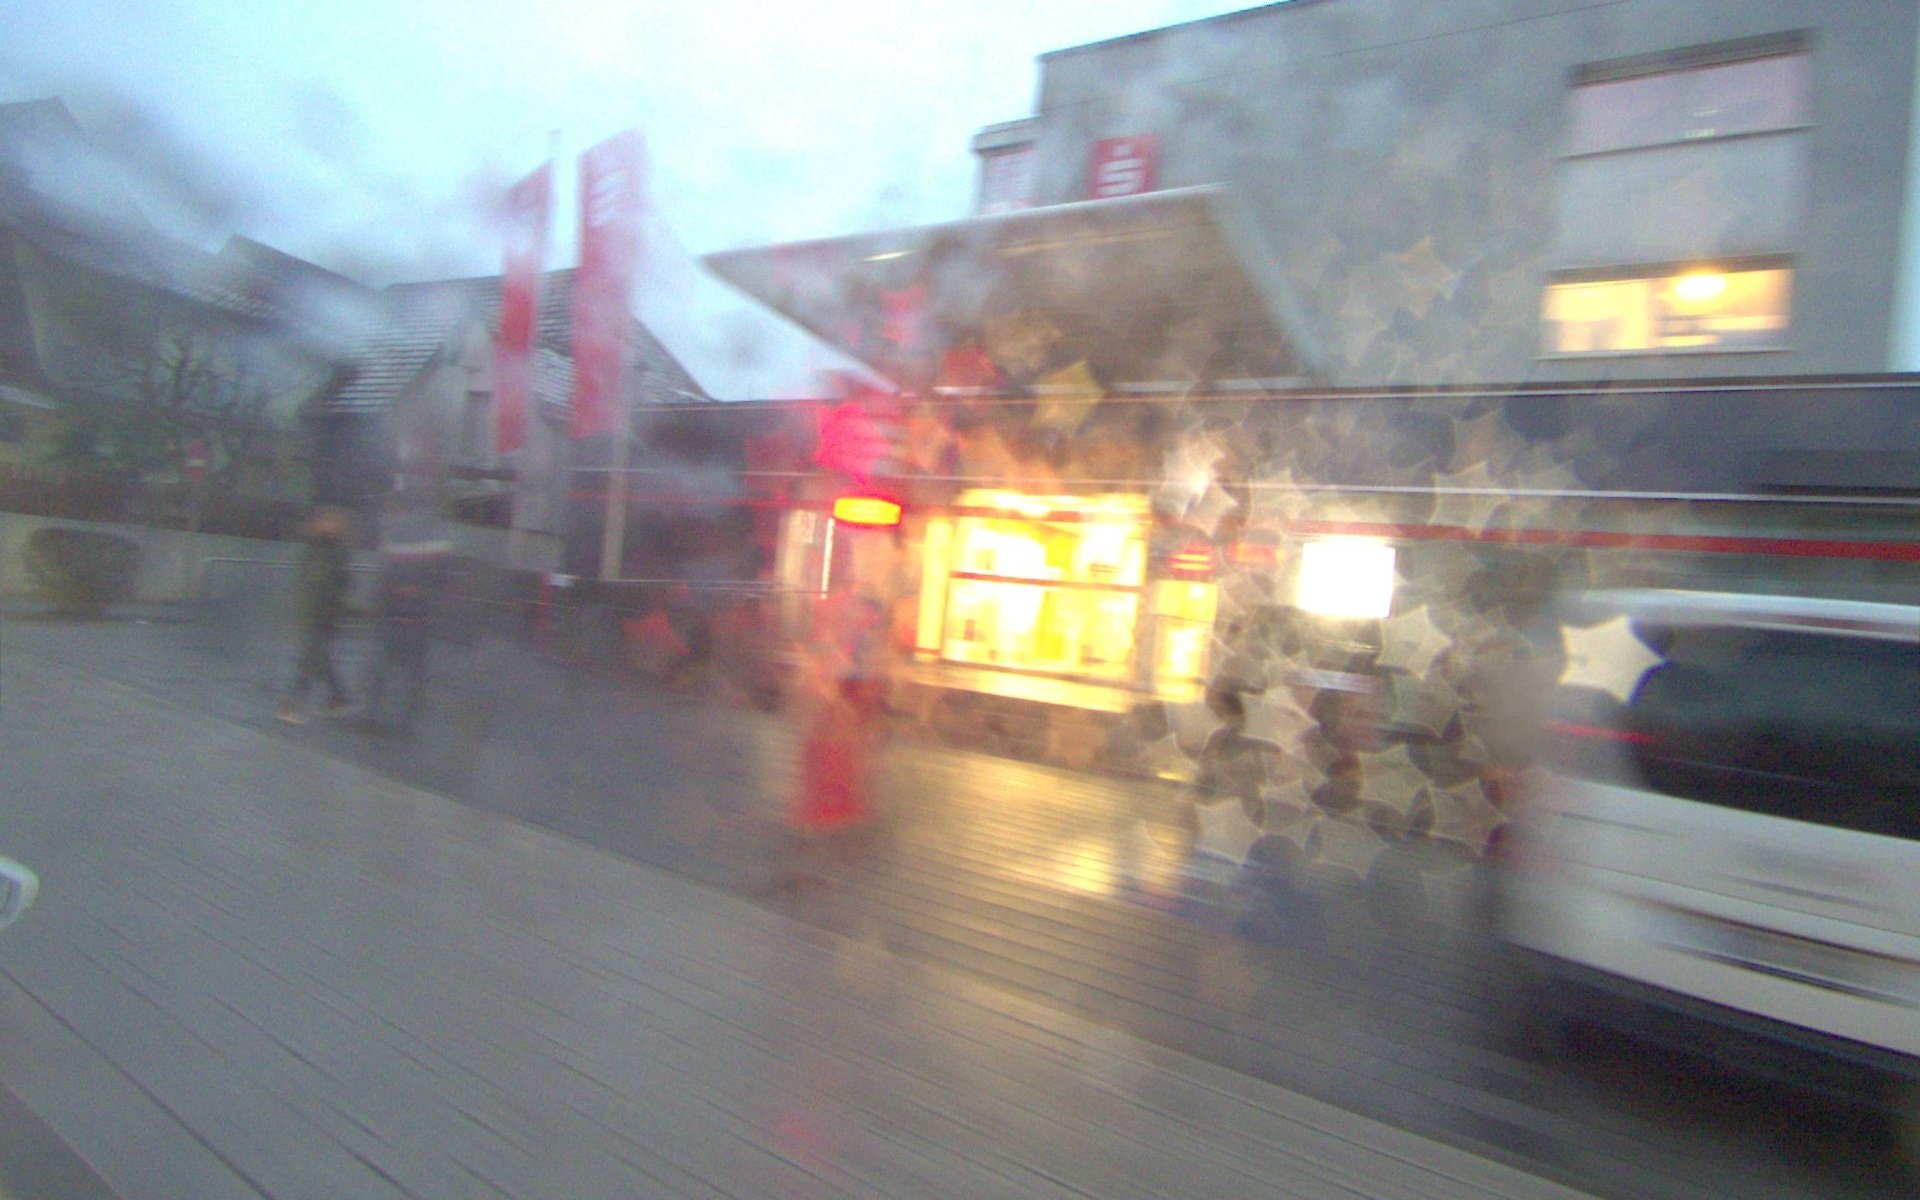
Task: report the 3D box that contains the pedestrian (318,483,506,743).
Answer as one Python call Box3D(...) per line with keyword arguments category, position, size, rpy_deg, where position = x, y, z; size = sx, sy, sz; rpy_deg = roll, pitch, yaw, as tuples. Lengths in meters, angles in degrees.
Box3D(category="pedestrian", position=(-3.967, 0.083, 7.295), size=(0.899, 1.727, 0.704), rpy_deg=(6, 2, 27))

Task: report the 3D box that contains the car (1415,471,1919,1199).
Box3D(category="car", position=(3.736, 0.779, 4.583), size=(1.970, 2.076, 4.087), rpy_deg=(7, 1, 38))

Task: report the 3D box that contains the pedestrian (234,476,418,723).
Box3D(category="pedestrian", position=(-4.816, -0.007, 7.652), size=(0.832, 1.727, 0.835), rpy_deg=(7, 2, 36))
